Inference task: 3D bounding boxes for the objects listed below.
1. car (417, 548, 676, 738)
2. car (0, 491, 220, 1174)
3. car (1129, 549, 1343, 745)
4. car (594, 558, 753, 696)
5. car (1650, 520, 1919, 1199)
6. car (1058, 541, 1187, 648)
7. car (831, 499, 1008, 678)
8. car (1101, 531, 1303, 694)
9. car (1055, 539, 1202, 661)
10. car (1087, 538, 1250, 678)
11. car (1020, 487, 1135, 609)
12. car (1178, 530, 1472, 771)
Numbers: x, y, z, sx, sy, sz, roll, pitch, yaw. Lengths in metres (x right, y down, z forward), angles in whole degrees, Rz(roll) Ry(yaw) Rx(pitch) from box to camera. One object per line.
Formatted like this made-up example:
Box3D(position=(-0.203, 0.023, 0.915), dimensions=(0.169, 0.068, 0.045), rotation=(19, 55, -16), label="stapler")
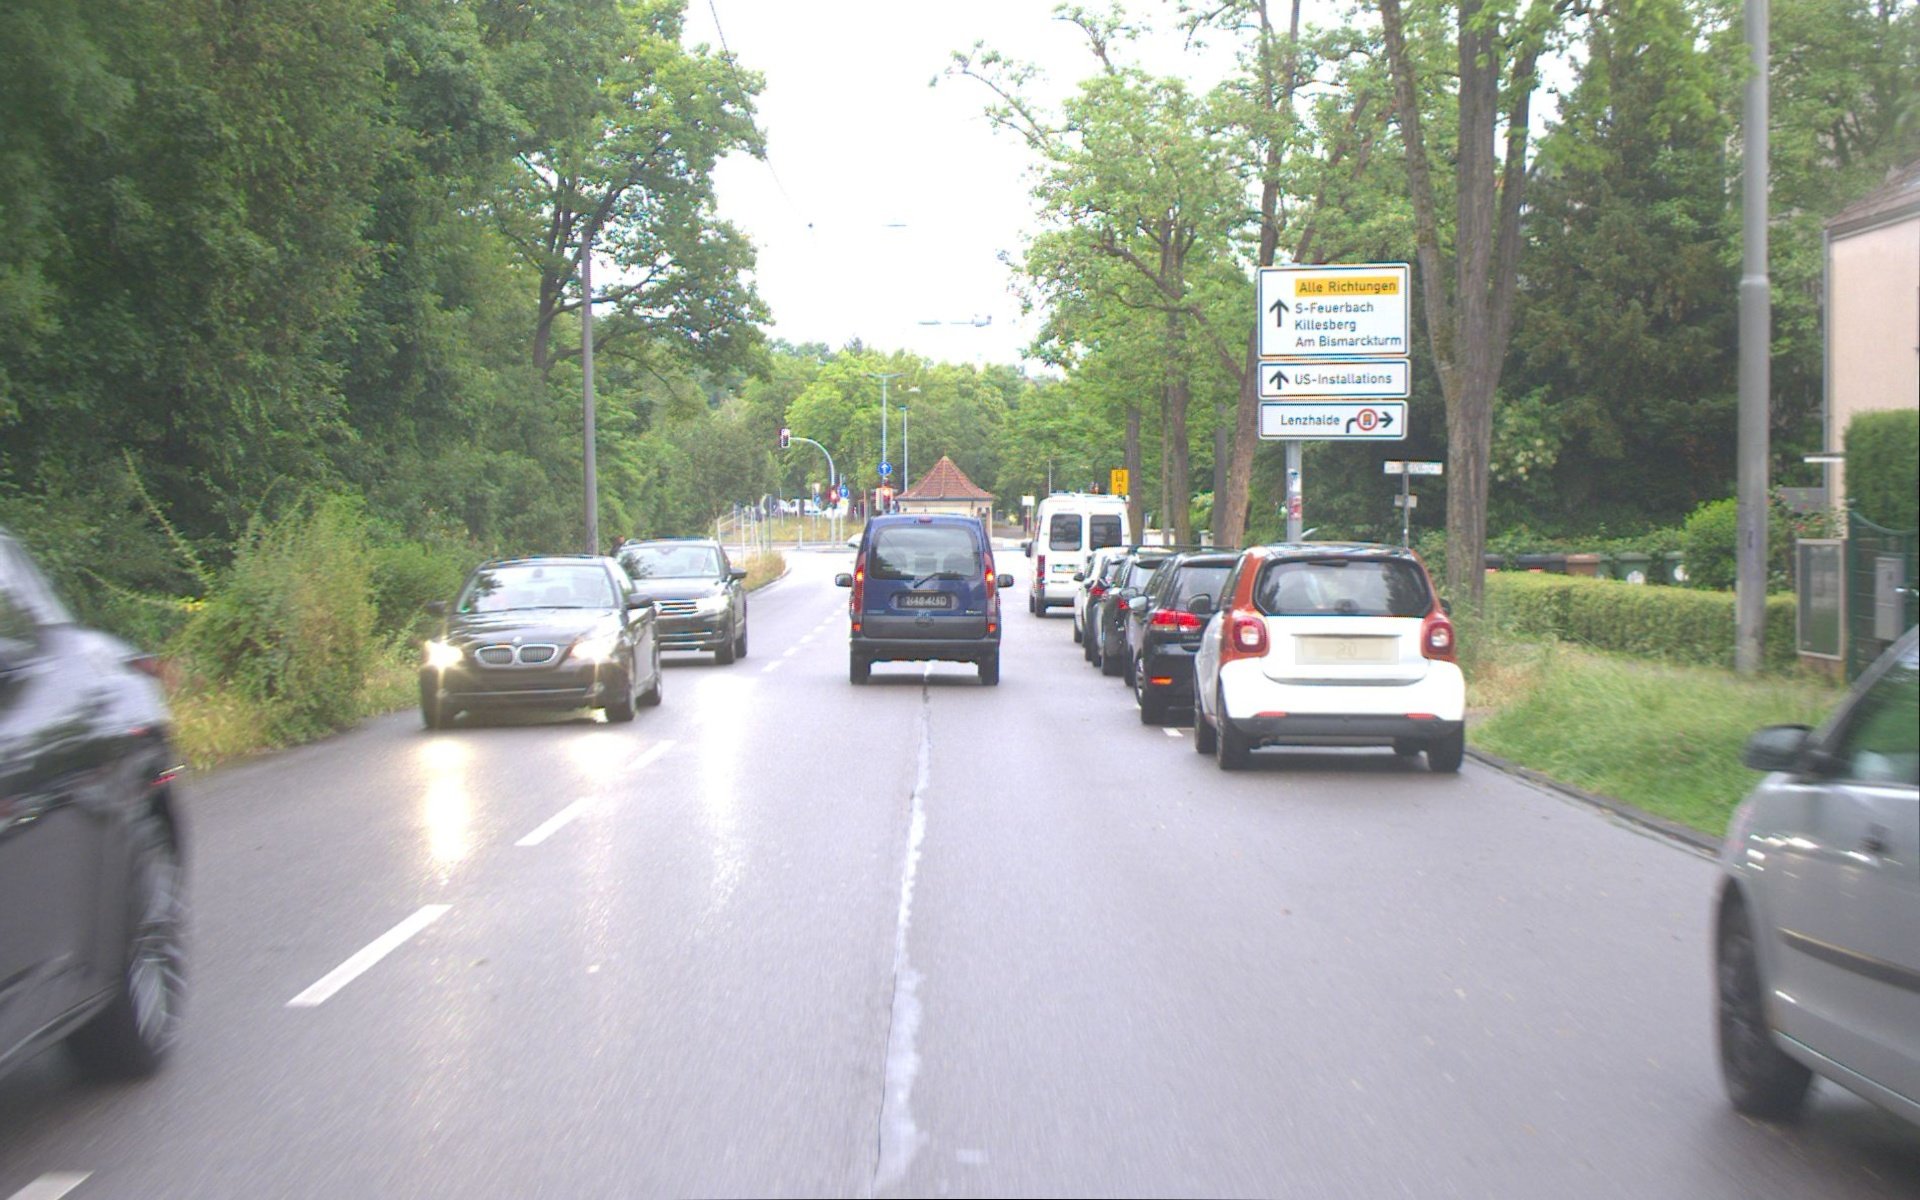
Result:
Box3D(position=(-3.651, 0.317, 31.172), dimensions=(1.728, 1.437, 5.113), rotation=(-2, 2, 0), label="car")
Box3D(position=(-3.102, 0.558, 7.897), dimensions=(1.804, 1.541, 4.432), rotation=(-2, 2, 0), label="car")
Box3D(position=(2.378, 0.359, 30.379), dimensions=(1.698, 1.519, 3.867), rotation=(1, 2, 2), label="car")
Box3D(position=(-3.712, 0.313, 45.138), dimensions=(1.723, 1.610, 4.155), rotation=(-1, 2, 0), label="car")
Box3D(position=(2.857, 0.606, 7.936), dimensions=(1.618, 1.503, 3.835), rotation=(1, 2, -2), label="car")
Box3D(position=(2.463, -0.120, 52.940), dimensions=(1.698, 1.519, 3.868), rotation=(1, 1, -1), label="car")
Box3D(position=(-0.490, -0.170, 37.820), dimensions=(1.766, 1.824, 3.543), rotation=(1, 2, -3), label="car")
Box3D(position=(2.420, 0.085, 35.208), dimensions=(1.698, 1.519, 3.868), rotation=(1, 1, -1), label="car")
Box3D(position=(2.248, -0.035, 46.659), dimensions=(1.698, 1.519, 3.868), rotation=(1, 1, -1), label="car")
Box3D(position=(2.438, 0.056, 41.123), dimensions=(1.698, 1.519, 4.211), rotation=(1, 1, 1), label="car")
Box3D(position=(2.397, -1.078, 71.448), dimensions=(2.205, 2.441, 4.729), rotation=(0, 1, 0), label="car")
Box3D(position=(2.482, 0.304, 23.972), dimensions=(1.633, 1.504, 2.958), rotation=(1, 2, -1), label="car")
